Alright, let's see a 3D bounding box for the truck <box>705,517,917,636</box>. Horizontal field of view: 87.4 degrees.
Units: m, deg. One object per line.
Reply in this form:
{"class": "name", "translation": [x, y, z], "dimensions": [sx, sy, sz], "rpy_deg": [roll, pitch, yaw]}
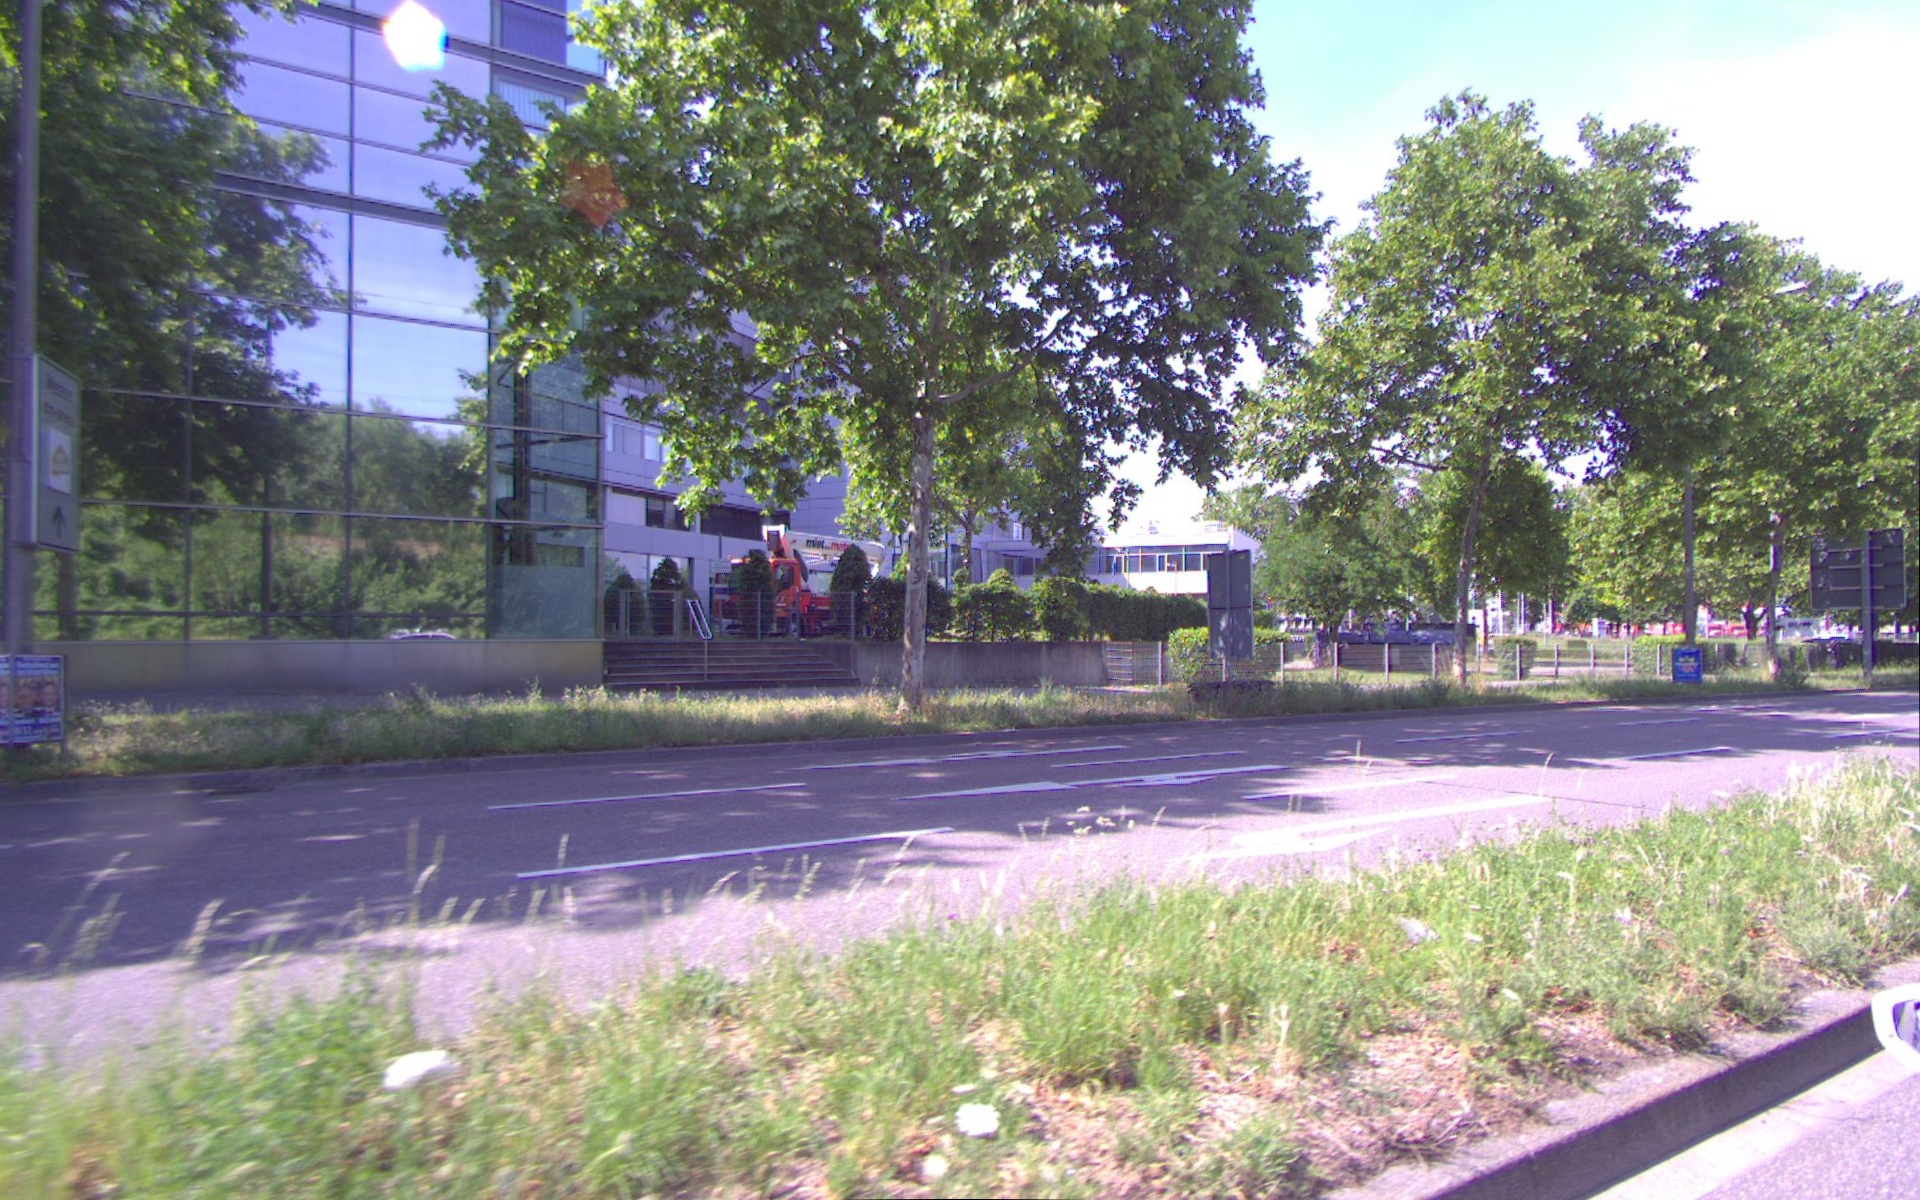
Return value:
{"class": "truck", "translation": [-4.624, -0.545, 33.680], "dimensions": [2.622, 3.440, 8.985], "rpy_deg": [0, -2, 24]}

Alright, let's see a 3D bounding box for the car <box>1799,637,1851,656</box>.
{"class": "car", "translation": [77.302, 4.149, 89.838], "dimensions": [1.961, 1.687, 4.845], "rpy_deg": [-1, -2, 21]}

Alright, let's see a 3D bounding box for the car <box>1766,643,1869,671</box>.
{"class": "car", "translation": [47.429, 3.133, 55.619], "dimensions": [1.751, 1.483, 3.971], "rpy_deg": [1, -2, -29]}

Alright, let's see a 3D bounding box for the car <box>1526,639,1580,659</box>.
{"class": "car", "translation": [51.213, 4.191, 86.815], "dimensions": [1.774, 1.525, 3.989], "rpy_deg": [-1, 0, -13]}

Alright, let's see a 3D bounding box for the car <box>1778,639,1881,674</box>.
{"class": "car", "translation": [49.893, 3.204, 57.709], "dimensions": [2.128, 1.847, 3.974], "rpy_deg": [2, -1, -26]}
